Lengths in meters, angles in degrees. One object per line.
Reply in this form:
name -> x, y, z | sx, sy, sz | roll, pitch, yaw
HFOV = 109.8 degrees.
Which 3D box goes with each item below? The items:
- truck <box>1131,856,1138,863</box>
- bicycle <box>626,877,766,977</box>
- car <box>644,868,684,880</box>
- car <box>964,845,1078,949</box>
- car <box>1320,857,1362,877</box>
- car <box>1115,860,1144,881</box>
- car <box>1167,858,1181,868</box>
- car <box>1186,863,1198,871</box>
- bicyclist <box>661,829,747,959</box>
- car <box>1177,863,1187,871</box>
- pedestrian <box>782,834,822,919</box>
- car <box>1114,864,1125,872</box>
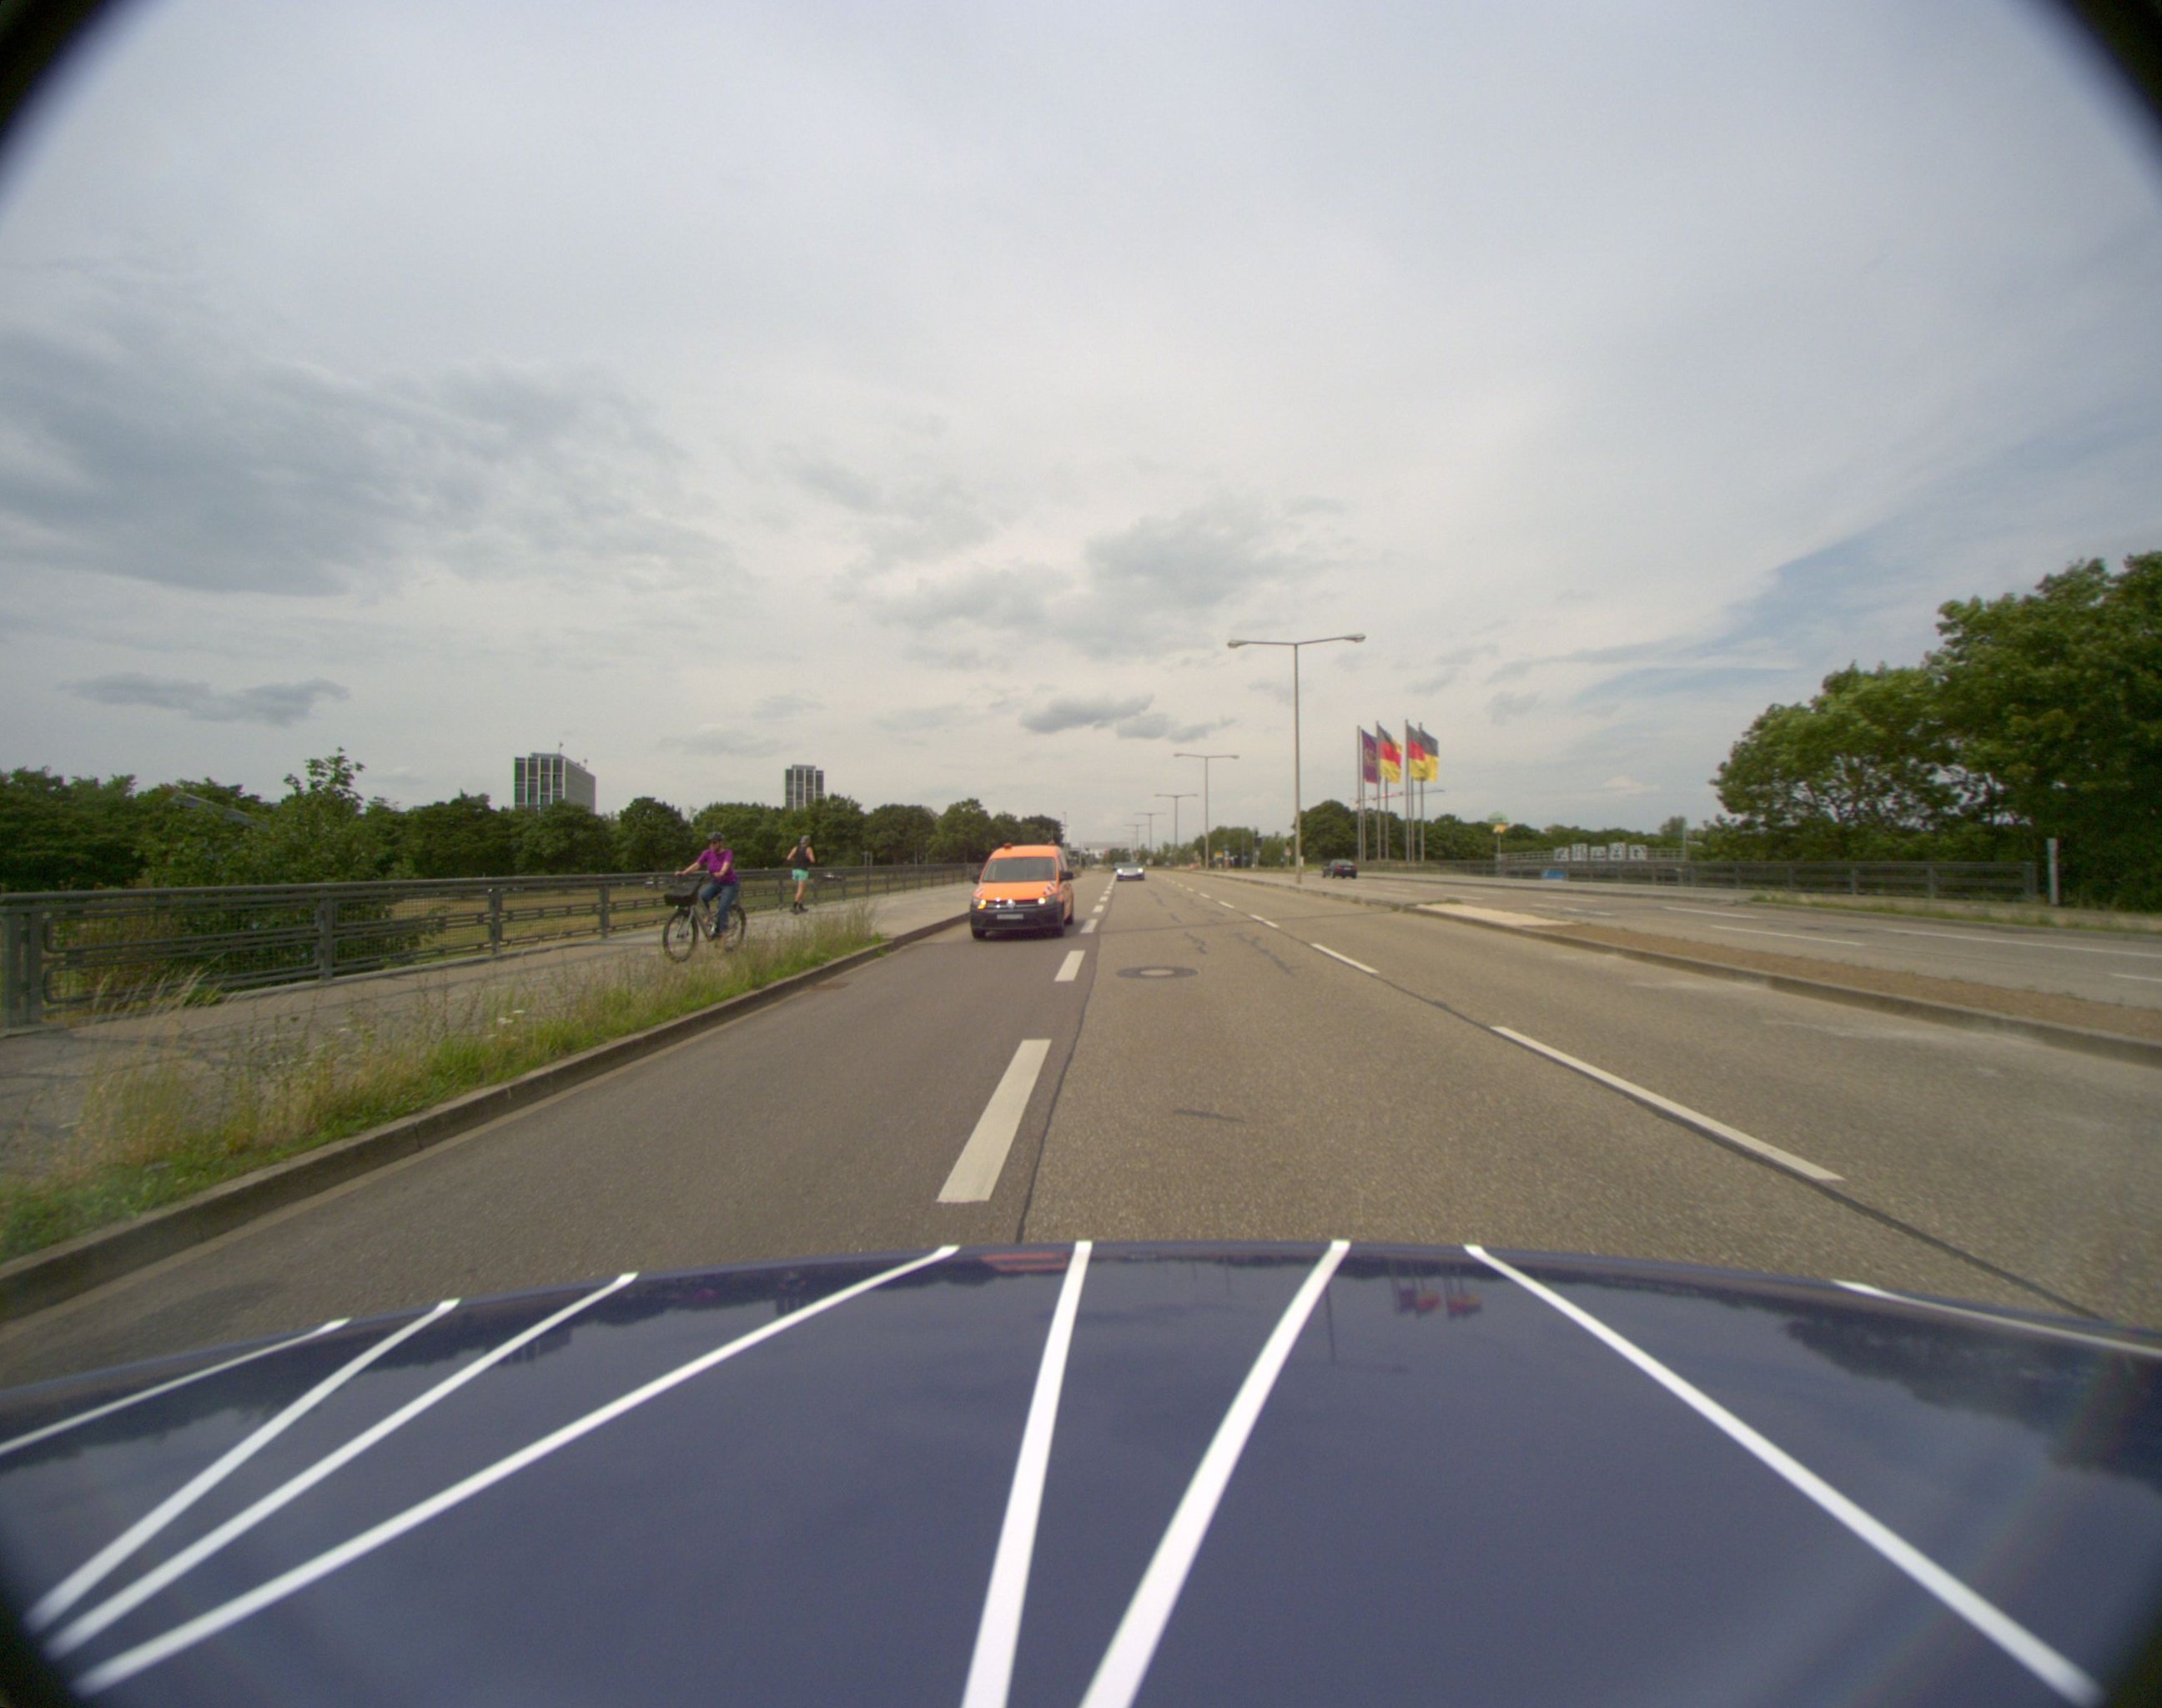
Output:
truck -> 15.773, 1.771, 224.018 | 1.998, 2.001, 4.001 | -1, -1, 1
bicycle -> -5.340, 0.954, 10.755 | 0.695, 1.185, 2.461 | 0, 0, 1
car -> -64.311, 3.127, 117.270 | 4.904, 1.792, 1.998 | -1, -1, -11
car -> -1.096, 0.818, 15.923 | 1.892, 1.824, 4.431 | -2, -1, 1
car -> 19.173, 0.952, 56.269 | 1.997, 1.365, 4.579 | 1, 0, 6
car -> 3.330, 1.137, 52.727 | 1.695, 1.403, 3.684 | -2, -1, 0
car -> 16.622, 1.603, 135.986 | 1.998, 1.630, 4.663 | 0, 0, 2
car -> 21.473, 2.443, 147.112 | 1.695, 1.485, 4.000 | 1, -1, 1
bicyclist -> -5.299, 0.543, 10.732 | 0.705, 1.745, 0.991 | 0, 0, 1
car -> 21.657, 2.787, 162.447 | 1.695, 1.485, 4.000 | 1, -1, 1
pedestrian -> -6.739, 0.530, 18.371 | 0.628, 2.001, 0.668 | 1, 0, 3
car -> 6.290, 2.263, 124.345 | 1.558, 1.229, 3.470 | -2, -1, 1
